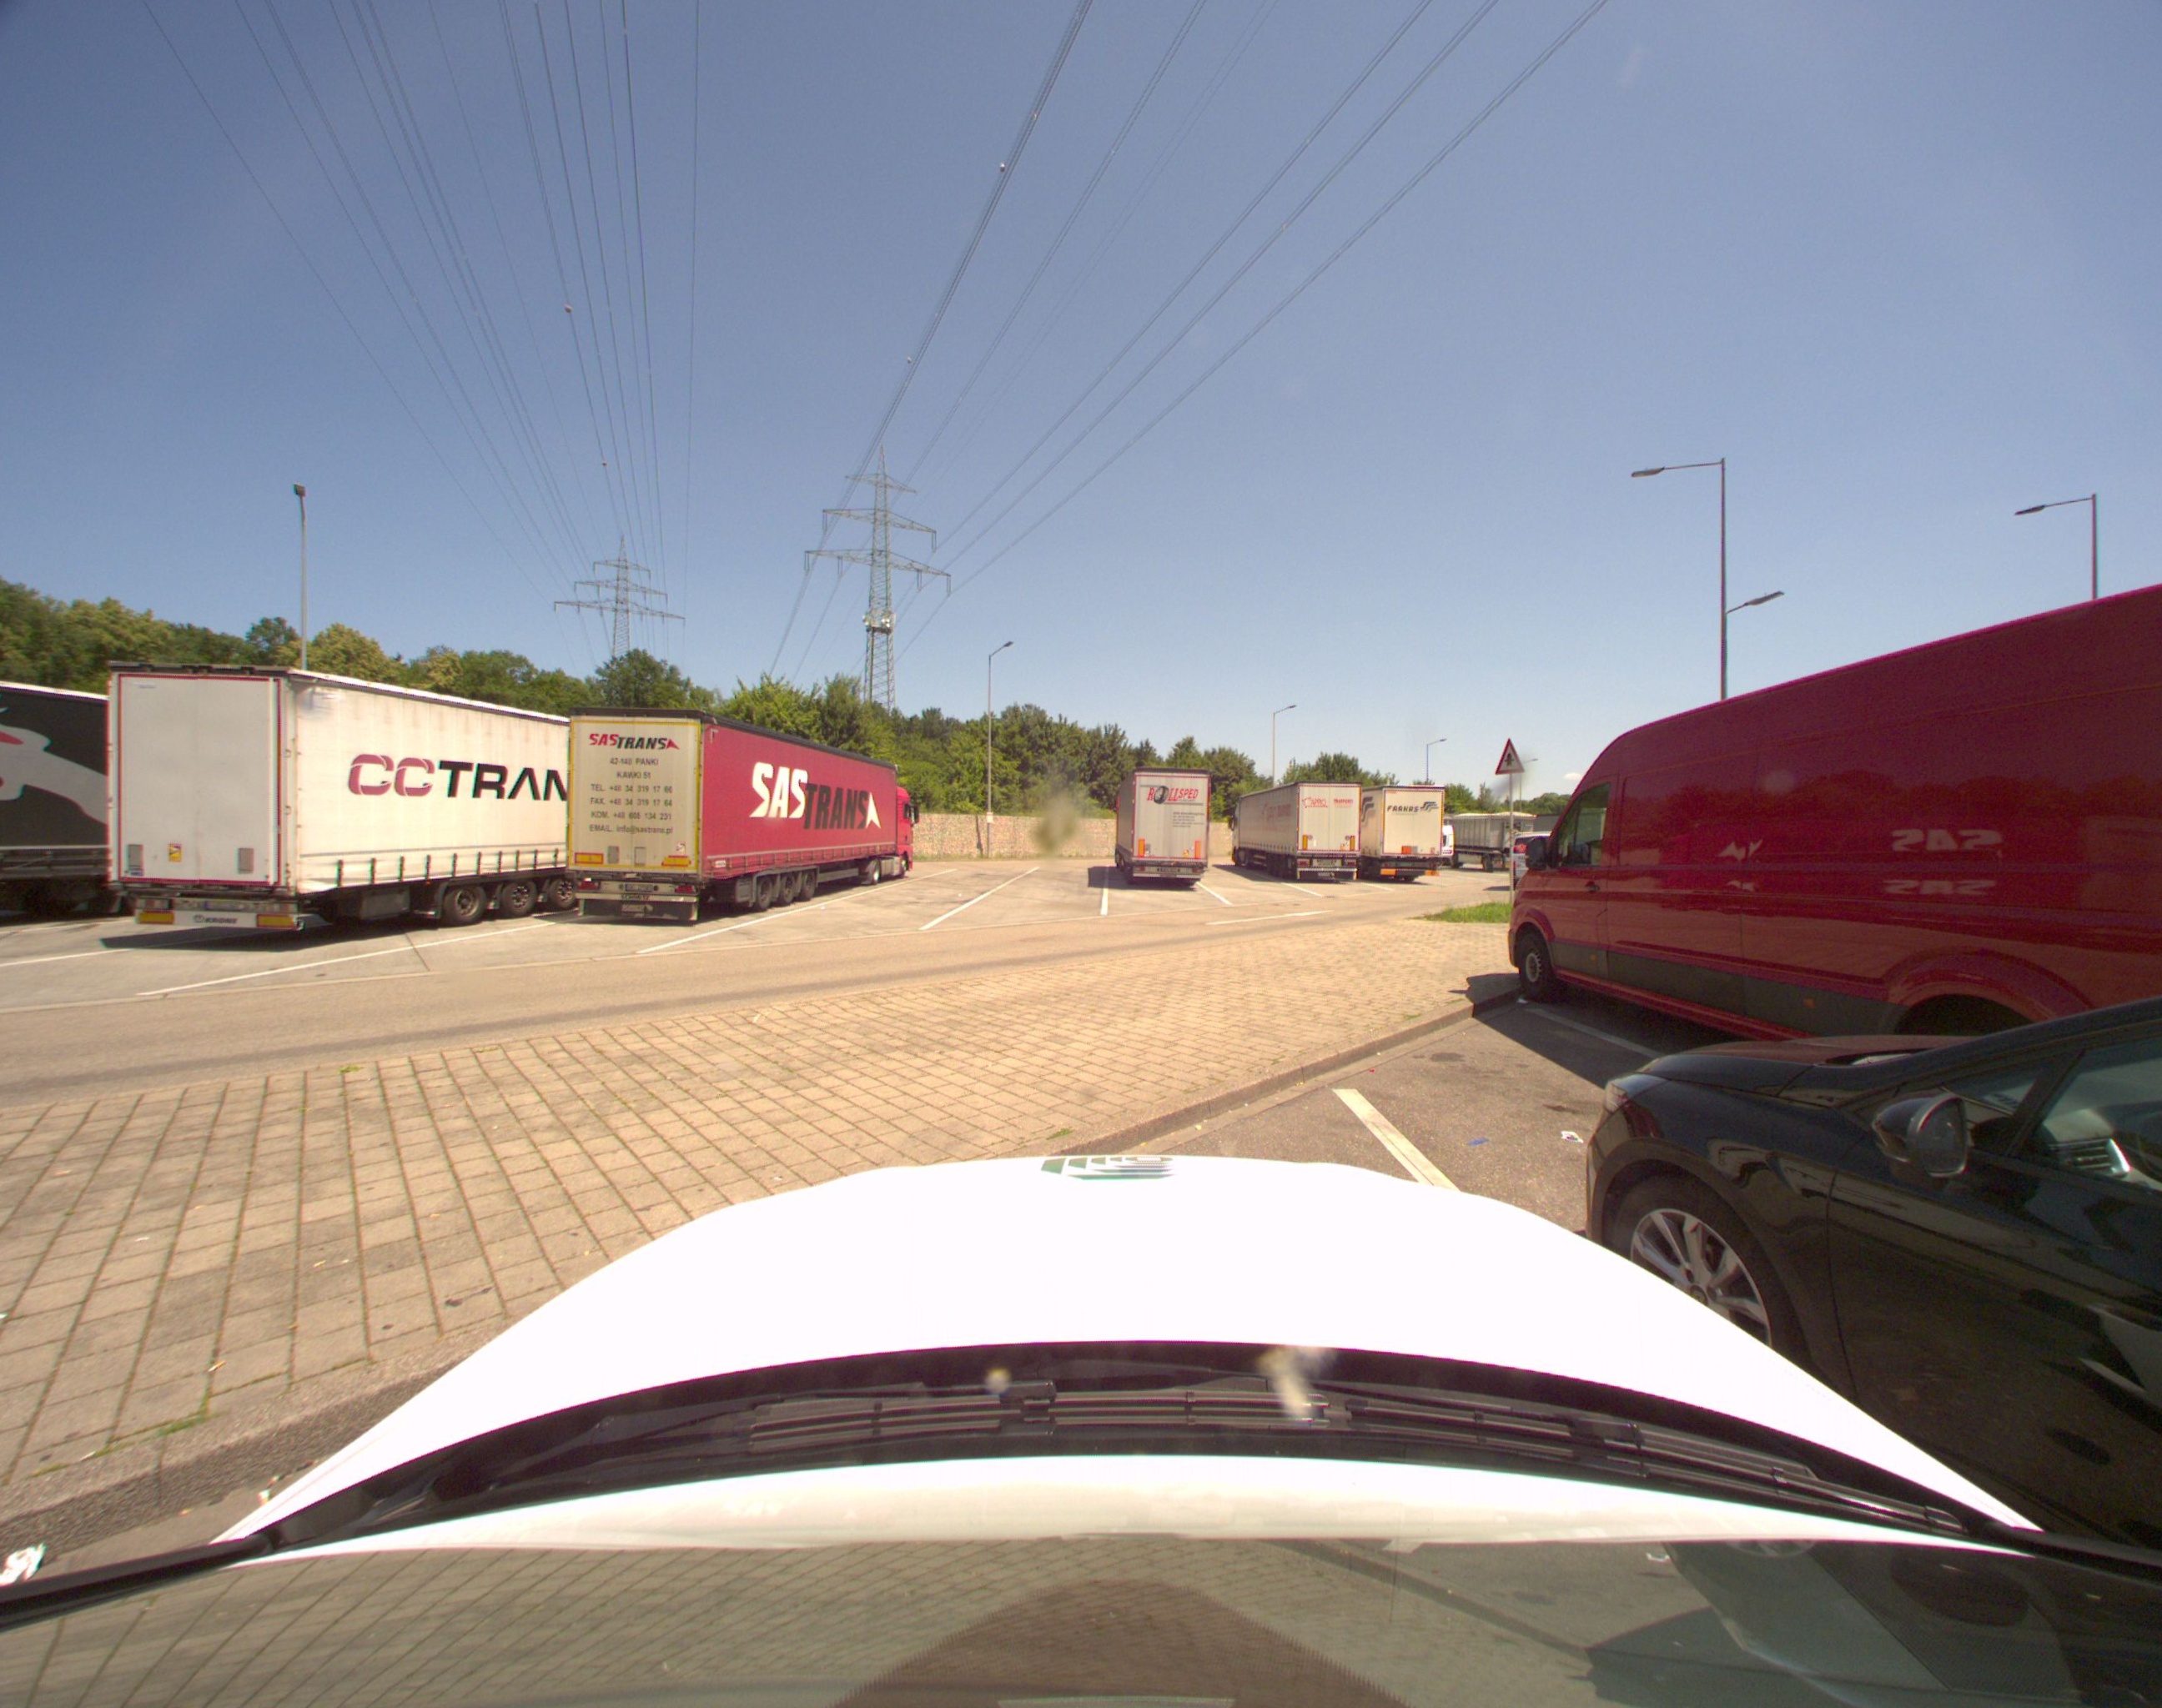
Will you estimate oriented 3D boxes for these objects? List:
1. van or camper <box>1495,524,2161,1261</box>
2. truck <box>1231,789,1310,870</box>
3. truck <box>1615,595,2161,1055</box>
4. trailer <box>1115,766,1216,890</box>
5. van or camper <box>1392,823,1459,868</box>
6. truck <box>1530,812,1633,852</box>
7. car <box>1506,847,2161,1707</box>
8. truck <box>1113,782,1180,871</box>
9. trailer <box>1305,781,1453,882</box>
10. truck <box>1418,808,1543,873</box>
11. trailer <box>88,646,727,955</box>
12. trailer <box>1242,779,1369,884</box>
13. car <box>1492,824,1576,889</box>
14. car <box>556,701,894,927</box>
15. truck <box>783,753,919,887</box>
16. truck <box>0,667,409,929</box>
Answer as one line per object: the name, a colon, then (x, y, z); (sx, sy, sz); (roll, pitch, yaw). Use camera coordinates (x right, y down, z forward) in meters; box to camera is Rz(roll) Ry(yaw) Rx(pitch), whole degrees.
van or camper: (5.147, 0.095, 5.497); (1.986, 2.654, 6.490); (-1, 1, 6)
truck: (10.186, -1.370, 44.539); (2.856, 4.037, 6.960); (0, 2, 2)
truck: (7.948, -0.216, 7.070); (2.455, 2.792, 6.978); (0, 1, 4)
trailer: (3.052, -1.107, 33.734); (2.857, 4.037, 14.244); (0, 2, 1)
van or camper: (20.939, -0.514, 49.758); (2.096, 2.561, 5.376); (-1, 1, 3)
truck: (38.039, -1.648, 62.385); (2.117, 2.820, 9.783); (-1, 1, 2)
car: (2.464, 0.750, 1.145); (1.612, 1.483, 3.762); (-1, 1, -4)
truck: (3.145, -1.395, 40.822); (2.857, 4.037, 7.029); (0, 2, 1)
trailer: (13.648, -1.127, 38.883); (2.856, 4.037, 12.445); (0, 2, 2)
truck: (24.306, -0.961, 50.506); (2.478, 3.568, 11.429); (0, 2, 2)
trailer: (-12.155, -0.978, 17.792); (2.803, 4.266, 12.947); (0, 2, 2)
trailer: (9.961, -1.107, 37.907); (2.856, 4.037, 12.445); (0, 2, 2)
car: (16.354, 0.041, 29.657); (1.976, 2.150, 5.341); (0, 1, 21)
car: (-8.041, -0.937, 21.437); (2.686, 4.112, 12.943); (1, 2, 2)
truck: (-7.742, -1.155, 28.353); (2.686, 4.112, 6.243); (1, 2, 2)
truck: (-18.610, -1.024, 16.273); (2.803, 4.190, 8.793); (0, 2, 2)
